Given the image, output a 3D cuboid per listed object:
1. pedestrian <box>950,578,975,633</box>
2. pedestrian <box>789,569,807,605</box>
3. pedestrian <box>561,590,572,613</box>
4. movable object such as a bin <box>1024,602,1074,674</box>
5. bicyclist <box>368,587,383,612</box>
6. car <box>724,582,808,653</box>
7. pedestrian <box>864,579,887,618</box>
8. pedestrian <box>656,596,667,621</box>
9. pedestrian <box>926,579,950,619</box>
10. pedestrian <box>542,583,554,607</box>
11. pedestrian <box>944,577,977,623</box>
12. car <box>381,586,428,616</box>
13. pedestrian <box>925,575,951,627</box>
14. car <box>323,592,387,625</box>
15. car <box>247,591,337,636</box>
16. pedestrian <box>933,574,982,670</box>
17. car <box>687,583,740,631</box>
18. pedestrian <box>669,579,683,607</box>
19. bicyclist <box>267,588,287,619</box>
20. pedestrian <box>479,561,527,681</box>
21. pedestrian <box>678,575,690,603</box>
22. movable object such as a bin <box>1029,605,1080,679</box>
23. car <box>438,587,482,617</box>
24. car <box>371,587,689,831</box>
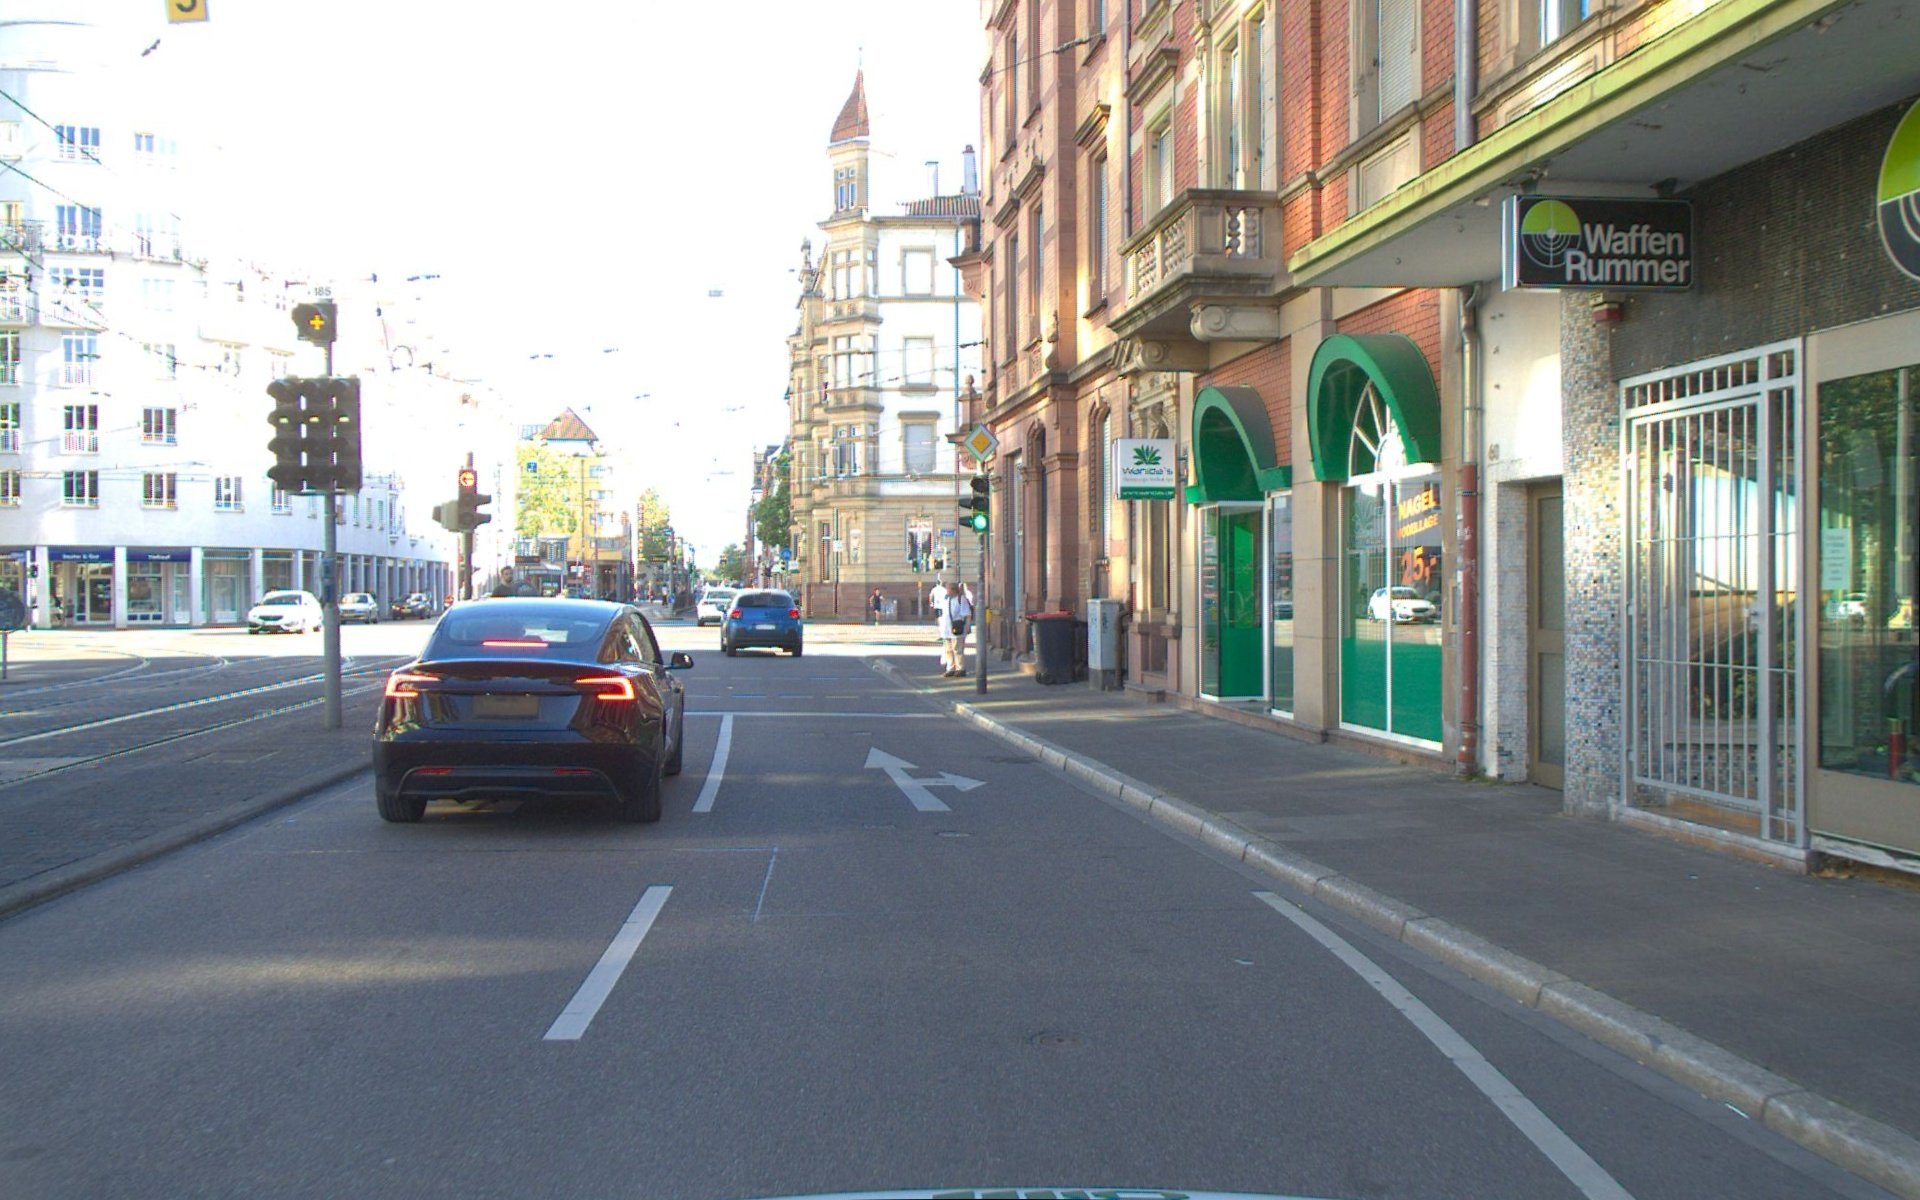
[{"bbox_3d":[0.075,0.181,53.693,0.629,1.775,0.706,1,-1,13],"label":"pedestrian"},{"bbox_3d":[-8.010,-0.655,81.827,0.766,1.780,1.090,0,2,-11],"label":"pedestrian"},{"bbox_3d":[-28.077,0.110,117.984,0.718,1.586,0.741,0,1,-10],"label":"pedestrian"},{"bbox_3d":[1.406,0.592,26.209,0.650,1.091,0.544,-3,0,-6],"label":"movable object such as a bin"},{"bbox_3d":[-30.750,-0.023,87.031,0.578,1.308,0.989,0,-1,-10],"label":"bicyclist"},{"bbox_3d":[-4.422,0.369,37.429,1.748,1.476,3.647,2,0,-8],"label":"car"},{"bbox_3d":[-3.635,-0.059,71.221,0.903,1.660,0.942,-1,-1,0],"label":"pedestrian"},{"bbox_3d":[-19.560,0.557,108.376,0.574,1.589,0.469,0,0,27],"label":"pedestrian"},{"bbox_3d":[-0.866,-0.049,65.468,0.620,1.564,0.941,-1,-1,23],"label":"pedestrian"},{"bbox_3d":[-27.564,-0.350,110.549,0.718,1.554,0.741,0,1,-10],"label":"pedestrian"},{"bbox_3d":[0.010,-0.007,60.235,0.903,1.660,0.941,-1,-1,23],"label":"pedestrian"},{"bbox_3d":[-31.616,0.065,94.269,1.957,1.624,3.990,0,-1,-10],"label":"car"},{"bbox_3d":[-0.706,0.035,53.878,0.685,1.684,0.632,-1,-1,13],"label":"pedestrian"},{"bbox_3d":[-28.050,0.364,76.832,1.957,1.477,4.639,0,0,-10],"label":"car"},{"bbox_3d":[-23.164,0.449,57.498,1.957,1.477,4.491,0,0,-10],"label":"car"},{"bbox_3d":[-0.041,0.372,28.729,0.670,1.635,0.727,0,0,-17],"label":"pedestrian"},{"bbox_3d":[-9.706,0.290,65.346,1.956,1.773,3.992,2,-1,-8],"label":"car"},{"bbox_3d":[-18.699,-0.479,108.820,0.703,1.808,0.564,0,0,27],"label":"pedestrian"},{"bbox_3d":[-29.476,0.154,71.361,0.577,1.308,0.925,0,-1,-8],"label":"bicyclist"},{"bbox_3d":[-7.020,0.310,25.418,0.547,1.794,0.893,-2,0,-8],"label":"pedestrian"},{"bbox_3d":[-17.360,-0.669,104.049,0.623,1.727,0.933,1,-1,-1],"label":"pedestrian"},{"bbox_3d":[1.465,0.641,25.624,0.650,1.091,0.590,-3,0,-6],"label":"movable object such as a bin"},{"bbox_3d":[-33.257,0.127,110.076,2.186,1.944,4.599,0,0,-9],"label":"car"},{"bbox_3d":[-2.923,0.665,12.058,1.777,1.449,4.145,2,0,-9],"label":"car"}]
